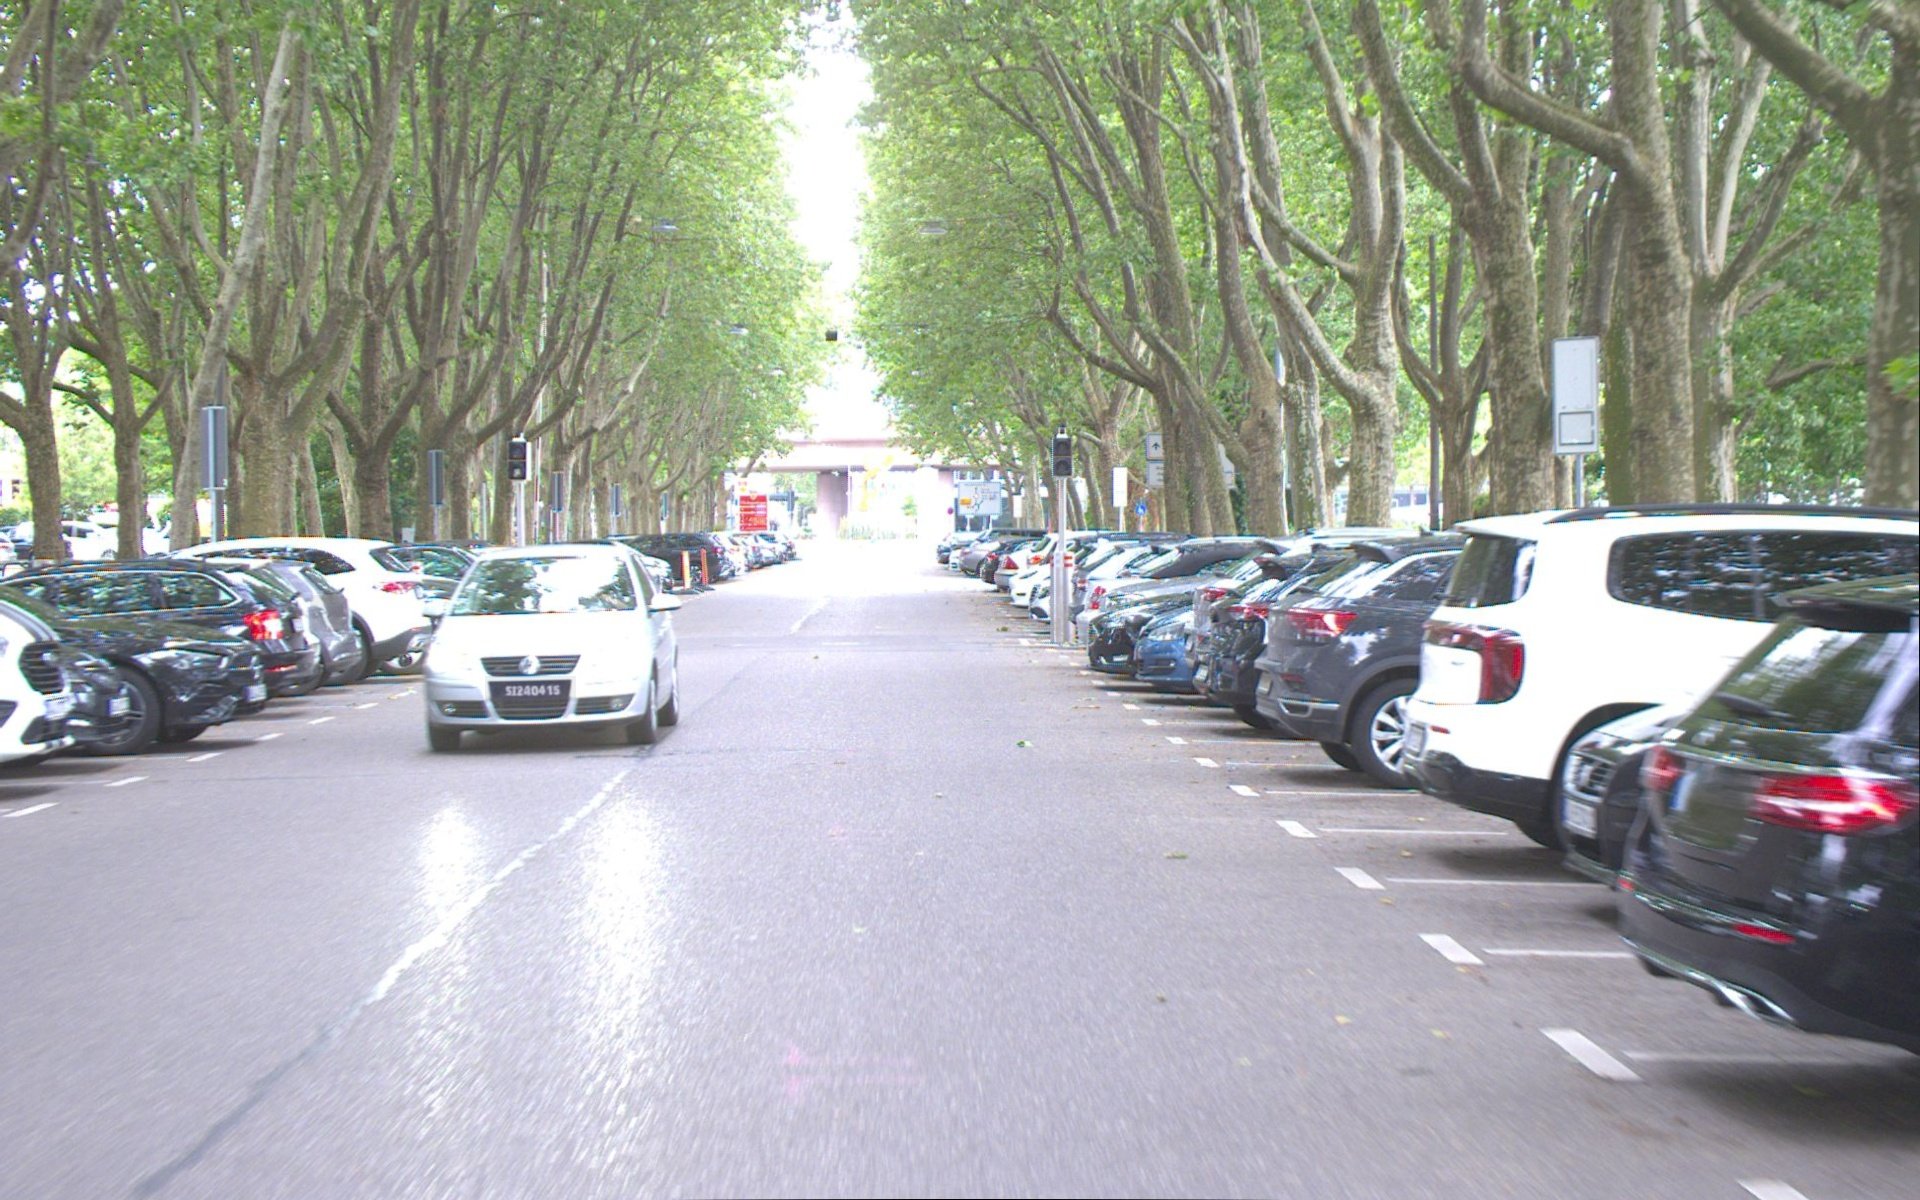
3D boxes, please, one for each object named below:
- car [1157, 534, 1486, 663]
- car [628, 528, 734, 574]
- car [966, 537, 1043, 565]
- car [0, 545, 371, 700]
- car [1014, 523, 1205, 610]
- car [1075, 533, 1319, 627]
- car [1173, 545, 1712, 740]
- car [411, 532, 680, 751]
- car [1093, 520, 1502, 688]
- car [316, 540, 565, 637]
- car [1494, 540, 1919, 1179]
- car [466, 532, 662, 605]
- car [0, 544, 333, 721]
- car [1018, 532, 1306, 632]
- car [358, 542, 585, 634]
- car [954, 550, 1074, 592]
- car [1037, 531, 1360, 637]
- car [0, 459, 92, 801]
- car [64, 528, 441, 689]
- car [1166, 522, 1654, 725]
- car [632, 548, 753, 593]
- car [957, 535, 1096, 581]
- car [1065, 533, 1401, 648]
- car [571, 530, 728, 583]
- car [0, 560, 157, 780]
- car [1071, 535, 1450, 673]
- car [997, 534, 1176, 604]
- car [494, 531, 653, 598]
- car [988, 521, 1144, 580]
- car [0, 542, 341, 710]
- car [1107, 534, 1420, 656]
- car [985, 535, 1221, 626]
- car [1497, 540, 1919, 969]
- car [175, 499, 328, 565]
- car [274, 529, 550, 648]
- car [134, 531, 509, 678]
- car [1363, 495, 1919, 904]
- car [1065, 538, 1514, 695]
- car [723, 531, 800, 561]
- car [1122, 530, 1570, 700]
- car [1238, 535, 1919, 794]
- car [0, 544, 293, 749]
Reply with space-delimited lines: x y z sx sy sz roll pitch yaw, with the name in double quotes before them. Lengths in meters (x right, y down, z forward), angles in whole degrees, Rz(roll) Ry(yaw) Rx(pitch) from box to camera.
"car" 4.307 -0.035 41.349 3.775 1.465 1.624 1 1 1
"car" -10.754 -1.899 132.658 3.814 1.597 1.785 -2 1 5
"car" 2.558 -2.825 197.466 4.376 1.517 1.731 1 1 0
"car" -8.199 0.221 35.913 3.826 1.466 1.695 -2 1 -4
"car" 2.981 -0.677 68.899 3.645 1.661 1.519 1 1 -4
"car" 3.874 -0.335 56.483 3.775 1.465 1.624 1 1 -4
"car" 3.645 0.305 26.388 3.826 1.384 1.695 1 1 -2
"car" -3.041 0.248 25.871 1.688 1.466 3.840 -2 1 -3
"car" 3.510 0.019 36.272 4.113 1.664 1.694 1 1 -1
"car" -8.411 -0.203 55.922 3.826 1.425 1.695 -2 1 -4
"car" 3.850 0.648 9.211 4.501 1.520 1.703 1 1 -3
"car" -8.390 -0.676 73.084 4.020 1.425 1.695 -2 1 -4
"car" -7.776 0.294 30.974 3.995 1.466 1.537 -2 1 -4
"car" 3.127 -0.285 53.679 4.296 1.465 1.624 1 1 -4
"car" -8.644 -0.229 61.005 3.826 1.492 1.695 -2 1 -4
"car" 1.943 -1.053 123.059 4.176 1.437 1.731 1 1 4
"car" 3.505 -0.247 51.033 4.614 1.465 1.650 1 1 -1
"car" -8.041 0.234 21.120 4.893 2.012 1.920 -2 1 -2
"car" -7.822 0.069 38.296 3.826 1.622 1.953 -2 1 -4
"car" 3.748 0.177 29.046 3.826 1.602 1.695 1 1 -2
"car" -9.005 -1.007 115.991 3.814 1.349 1.662 -2 1 5
"car" 2.261 -1.415 115.883 4.575 1.481 2.000 1 1 4
"car" 3.662 -0.142 46.600 4.366 1.465 1.624 1 1 -2
"car" -9.504 -1.351 105.596 4.664 1.422 2.000 -2 1 -2
"car" -8.039 0.522 23.946 4.448 1.447 1.774 -2 1 -2
"car" 3.364 0.027 39.013 4.113 1.465 1.694 1 1 -1
"car" 2.710 -0.681 74.113 3.645 1.419 1.986 1 1 -4
"car" -9.636 -0.903 85.965 3.826 1.549 1.695 -2 1 -4
"car" 2.718 -1.288 88.736 3.918 1.447 1.556 1 1 -2
"car" -8.108 0.245 33.626 3.755 1.469 1.865 -2 1 -2
"car" 3.828 -0.077 43.757 3.775 1.465 1.667 1 1 -1
"car" 2.635 -0.370 63.877 4.166 1.591 1.855 1 1 -4
"car" 4.373 0.576 13.517 4.185 1.551 1.701 1 1 -3
"car" -24.928 -2.394 121.052 5.077 2.224 1.536 1 1 -2
"car" -8.051 -0.188 50.734 3.826 1.602 1.695 -2 1 -4
"car" -7.574 0.037 41.008 4.068 1.602 1.799 -2 1 1
"car" 4.214 0.438 15.967 4.383 1.749 1.801 1 1 -3
"car" 3.212 0.147 34.024 4.211 1.446 1.611 1 1 -2
"car" -10.260 -2.793 178.097 3.814 1.510 1.686 0 1 2
"car" 3.476 0.120 31.437 3.826 1.450 1.695 1 1 -2
"car" 3.822 0.371 21.288 3.986 1.481 1.695 1 1 -2
"car" -7.533 0.373 26.236 4.449 1.447 1.774 -2 1 4
